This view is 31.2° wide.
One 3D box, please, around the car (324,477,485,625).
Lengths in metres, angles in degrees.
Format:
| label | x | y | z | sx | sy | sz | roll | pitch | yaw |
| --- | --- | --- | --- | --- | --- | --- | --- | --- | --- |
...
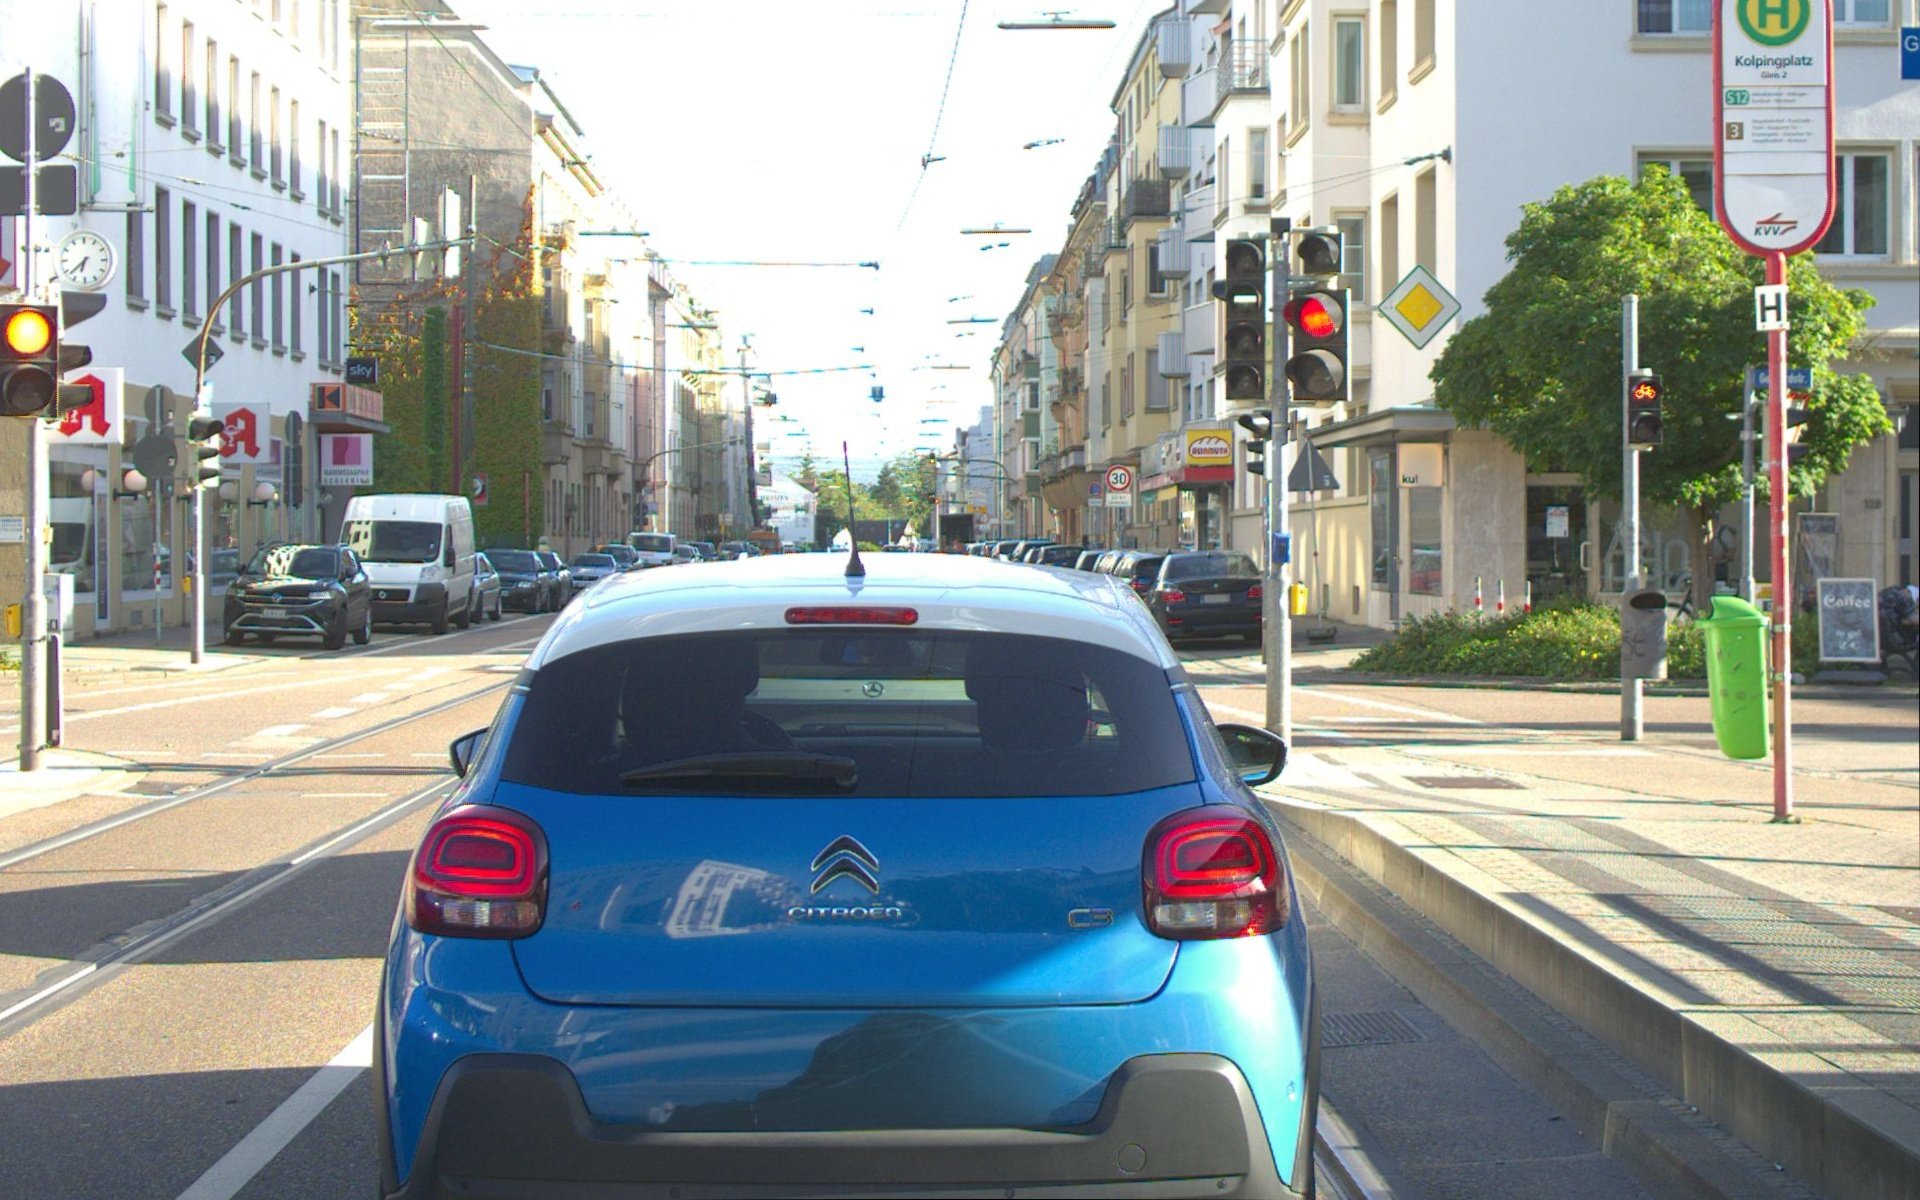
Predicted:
| label | x | y | z | sx | sy | sz | roll | pitch | yaw |
| --- | --- | --- | --- | --- | --- | --- | --- | --- | --- |
| car | -10.084 | -0.904 | 62.869 | 2.085 | 2.533 | 6.206 | 1 | 1 | -2 |

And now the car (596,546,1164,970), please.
| label | x | y | z | sx | sy | sz | roll | pitch | yaw |
| --- | --- | --- | --- | --- | --- | --- | --- | --- | --- |
| car | -0.317 | 0.524 | 14.551 | 1.984 | 1.459 | 4.816 | 1 | 1 | -1 |

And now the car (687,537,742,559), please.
| label | x | y | z | sx | sy | sz | roll | pitch | yaw |
| --- | --- | --- | --- | --- | --- | --- | --- | --- | --- |
| car | -13.178 | -2.803 | 184.924 | 1.994 | 1.152 | 4.513 | 0 | 1 | 9 |

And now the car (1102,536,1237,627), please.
| label | x | y | z | sx | sy | sz | roll | pitch | yaw |
| --- | --- | --- | --- | --- | --- | --- | --- | --- | --- |
| car | 3.440 | -0.323 | 57.097 | 1.993 | 1.459 | 4.000 | 0 | 1 | 0 |

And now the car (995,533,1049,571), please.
| label | x | y | z | sx | sy | sz | roll | pitch | yaw |
| --- | --- | --- | --- | --- | --- | --- | --- | --- | --- |
| car | 2.389 | -1.872 | 133.284 | 1.993 | 1.459 | 4.000 | 0 | 1 | 0 |

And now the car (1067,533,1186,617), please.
| label | x | y | z | sx | sy | sz | roll | pitch | yaw |
| --- | --- | --- | --- | --- | --- | --- | --- | --- | --- |
| car | 3.011 | -0.475 | 63.029 | 1.993 | 1.496 | 4.000 | 0 | 1 | 0 |

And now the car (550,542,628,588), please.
| label | x | y | z | sx | sy | sz | roll | pitch | yaw |
| --- | --- | --- | --- | --- | --- | --- | --- | --- | --- |
| car | -11.132 | -1.060 | 103.312 | 1.993 | 1.320 | 3.923 | 1 | 0 | -2 |

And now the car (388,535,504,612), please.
| label | x | y | z | sx | sy | sz | roll | pitch | yaw |
| --- | --- | --- | --- | --- | --- | --- | --- | --- | --- |
| car | -10.376 | -0.537 | 69.623 | 1.888 | 1.491 | 3.562 | 1 | 0 | -2 |

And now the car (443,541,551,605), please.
| label | x | y | z | sx | sy | sz | roll | pitch | yaw |
| --- | --- | --- | --- | --- | --- | --- | --- | --- | --- |
| car | -10.491 | -0.616 | 78.201 | 1.993 | 1.393 | 4.157 | 1 | 0 | -2 |

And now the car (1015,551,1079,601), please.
| label | x | y | z | sx | sy | sz | roll | pitch | yaw |
| --- | --- | --- | --- | --- | --- | --- | --- | --- | --- |
| car | 2.791 | -0.771 | 109.344 | 1.993 | 1.546 | 4.000 | 0 | 1 | 2 |

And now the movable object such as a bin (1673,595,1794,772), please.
| label | x | y | z | sx | sy | sz | roll | pitch | yaw |
| --- | --- | --- | --- | --- | --- | --- | --- | --- | --- |
| movable object such as a bin | 3.505 | 0.374 | 15.601 | 0.449 | 0.783 | 0.489 | 0 | 1 | 2 |

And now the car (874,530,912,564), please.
| label | x | y | z | sx | sy | sz | roll | pitch | yaw |
| --- | --- | --- | --- | --- | --- | --- | --- | --- | --- |
| car | -3.596 | -2.835 | 183.898 | 1.993 | 1.766 | 4.000 | 0 | 1 | -1 |

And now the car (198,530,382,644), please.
| label | x | y | z | sx | sy | sz | roll | pitch | yaw |
| --- | --- | --- | --- | --- | --- | --- | --- | --- | --- |
| car | -10.174 | -0.212 | 52.516 | 1.993 | 1.563 | 4.403 | 3 | 0 | -2 |

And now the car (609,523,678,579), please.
| label | x | y | z | sx | sy | sz | roll | pitch | yaw |
| --- | --- | --- | --- | --- | --- | --- | --- | --- | --- |
| car | -11.649 | -1.789 | 126.841 | 2.006 | 2.007 | 4.689 | 1 | 0 | 1 |

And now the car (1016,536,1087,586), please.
| label | x | y | z | sx | sy | sz | roll | pitch | yaw |
| --- | --- | --- | --- | --- | --- | --- | --- | --- | --- |
| car | 2.707 | -1.176 | 102.200 | 1.993 | 1.459 | 4.504 | 0 | 1 | 0 |

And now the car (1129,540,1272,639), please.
| label | x | y | z | sx | sy | sz | roll | pitch | yaw |
| --- | --- | --- | --- | --- | --- | --- | --- | --- | --- |
| car | 3.631 | -0.182 | 52.582 | 1.909 | 1.459 | 4.000 | 0 | 1 | 0 |

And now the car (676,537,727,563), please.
| label | x | y | z | sx | sy | sz | roll | pitch | yaw |
| --- | --- | --- | --- | --- | --- | --- | --- | --- | --- |
| car | -11.529 | -2.252 | 153.603 | 1.993 | 1.152 | 4.000 | 0 | 1 | 0 |

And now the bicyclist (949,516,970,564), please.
| label | x | y | z | sx | sy | sz | roll | pitch | yaw |
| --- | --- | --- | --- | --- | --- | --- | --- | --- | --- |
| bicyclist | -0.022 | -2.538 | 144.934 | 0.809 | 2.007 | 0.922 | 1 | 0 | -1 |

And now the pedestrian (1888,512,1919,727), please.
| label | x | y | z | sx | sy | sz | roll | pitch | yaw |
| --- | --- | --- | --- | --- | --- | --- | --- | --- | --- |
| pedestrian | 8.834 | 0.169 | 30.271 | 0.981 | 1.871 | 1.129 | 0 | 0 | -3 |

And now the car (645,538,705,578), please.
| label | x | y | z | sx | sy | sz | roll | pitch | yaw |
| --- | --- | --- | --- | --- | --- | --- | --- | --- | --- |
| car | -11.316 | -1.669 | 136.731 | 1.955 | 1.547 | 3.938 | 1 | 0 | 2 |

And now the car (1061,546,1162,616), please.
| label | x | y | z | sx | sy | sz | roll | pitch | yaw |
| --- | --- | --- | --- | --- | --- | --- | --- | --- | --- |
| car | 3.198 | -0.427 | 73.199 | 1.993 | 1.459 | 4.000 | 0 | 1 | 0 |

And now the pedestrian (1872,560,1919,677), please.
| label | x | y | z | sx | sy | sz | roll | pitch | yaw |
| --- | --- | --- | --- | --- | --- | --- | --- | --- | --- |
| pedestrian | 10.814 | 0.205 | 39.172 | 0.741 | 1.311 | 0.627 | 0 | 1 | 23 |

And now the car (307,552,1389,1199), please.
| label | x | y | z | sx | sy | sz | roll | pitch | yaw |
| --- | --- | --- | --- | --- | --- | --- | --- | --- | --- |
| car | -0.211 | 0.657 | 7.463 | 1.728 | 1.477 | 3.827 | 1 | 1 | -1 |

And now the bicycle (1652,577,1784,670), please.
| label | x | y | z | sx | sy | sz | roll | pitch | yaw |
| --- | --- | --- | --- | --- | --- | --- | --- | --- | --- |
| bicycle | 9.411 | 0.286 | 42.716 | 1.568 | 1.117 | 0.300 | 1 | 0 | 11 |

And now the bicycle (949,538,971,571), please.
| label | x | y | z | sx | sy | sz | roll | pitch | yaw |
| --- | --- | --- | --- | --- | --- | --- | --- | --- | --- |
| bicycle | -0.016 | -1.939 | 144.923 | 0.920 | 1.384 | 3.132 | 0 | 1 | 0 |
